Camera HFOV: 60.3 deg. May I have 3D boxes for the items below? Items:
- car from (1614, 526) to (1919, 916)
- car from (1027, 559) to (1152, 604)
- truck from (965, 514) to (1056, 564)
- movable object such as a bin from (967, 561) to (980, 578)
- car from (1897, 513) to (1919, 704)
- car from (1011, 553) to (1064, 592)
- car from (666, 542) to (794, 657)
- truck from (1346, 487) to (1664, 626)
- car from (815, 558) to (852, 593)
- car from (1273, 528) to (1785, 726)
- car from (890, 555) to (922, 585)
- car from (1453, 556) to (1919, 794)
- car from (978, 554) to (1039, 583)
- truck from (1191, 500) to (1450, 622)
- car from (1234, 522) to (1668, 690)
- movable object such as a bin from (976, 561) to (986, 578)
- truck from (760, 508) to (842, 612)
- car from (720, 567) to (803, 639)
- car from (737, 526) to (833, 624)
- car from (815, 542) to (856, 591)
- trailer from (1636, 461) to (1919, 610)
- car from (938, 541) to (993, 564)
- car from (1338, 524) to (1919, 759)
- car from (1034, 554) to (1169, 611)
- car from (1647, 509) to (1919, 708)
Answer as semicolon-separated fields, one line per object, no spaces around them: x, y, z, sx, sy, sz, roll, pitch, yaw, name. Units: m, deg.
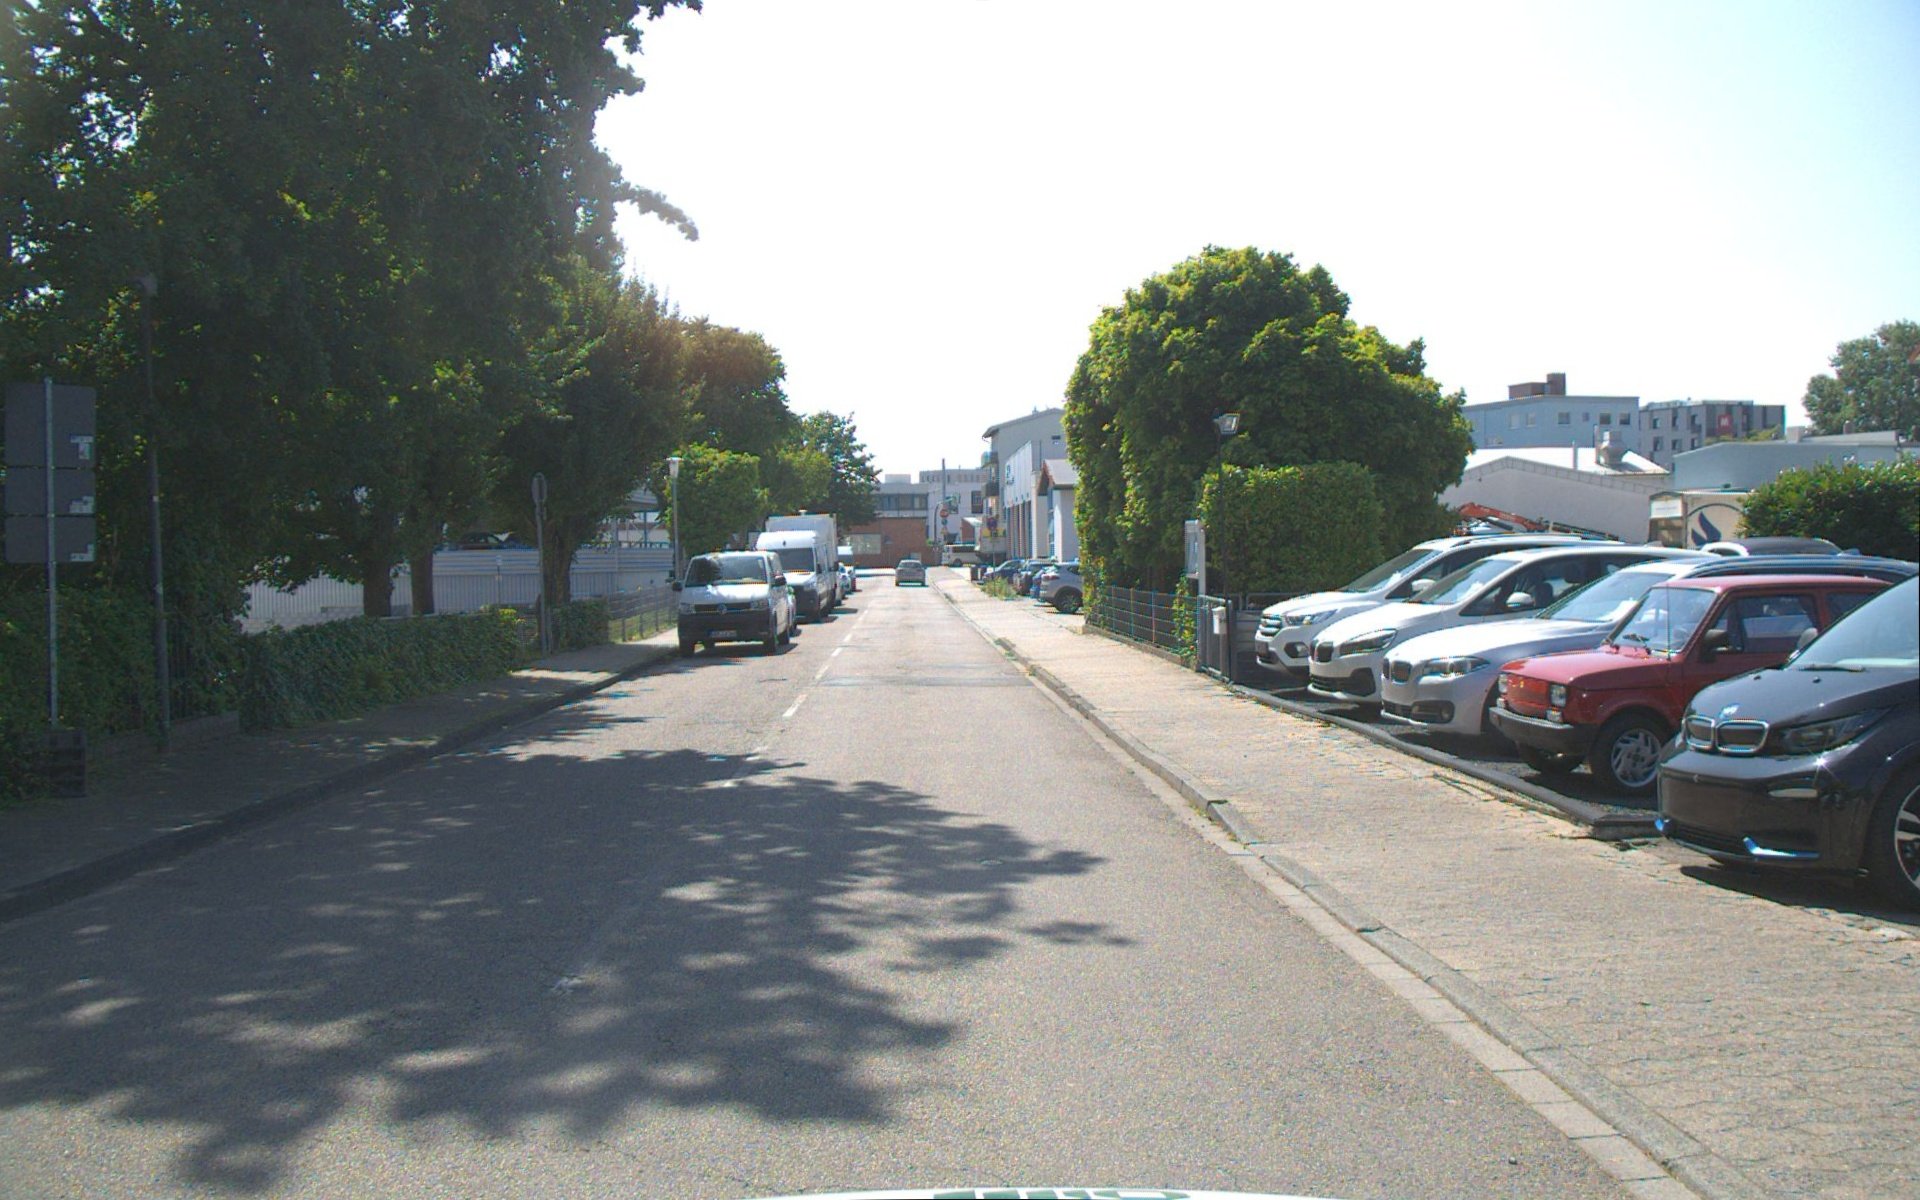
5.419;0.448;8.082;3.727;1.652;1.758;-2;1;-4;car
4.663;-0.684;59.952;4.266;1.466;1.891;-2;1;-3;car
4.303;-5.201;141.661;7.223;3.707;2.763;-5;2;-8;truck
0.781;-1.811;97.957;0.557;0.962;0.556;-1;2;31;movable object such as a bin
9.871;0.082;13.566;1.954;1.758;3.998;-2;1;-3;car
3.383;-1.253;72.892;1.821;1.595;4.950;-2;2;-3;car
-4.555;-0.062;33.493;1.932;2.048;5.055;-3;1;-2;car
15.432;-1.239;47.256;8.105;3.674;2.954;-1;1;0;truck
-6.381;-1.255;83.148;1.672;1.652;3.968;-3;2;-7;car
5.496;0.225;16.265;4.320;1.554;1.894;-4;1;-8;car
-3.227;-1.788;98.272;1.852;1.714;3.956;-2;1;-2;car
5.305;0.440;11.094;3.479;1.358;1.557;-2;1;-4;car
2.640;-1.726;90.431;3.187;1.423;1.673;-2;2;-2;car
11.101;-1.208;51.357;7.367;3.482;2.526;2;1;-2;truck
5.459;0.041;18.700;4.316;1.682;1.842;-2;1;-5;car
1.250;-1.811;98.388;0.502;0.962;0.488;-2;2;9;movable object such as a bin
-5.687;-1.421;59.451;2.633;3.424;7.123;-2;1;-5;truck
-4.816;0.040;40.663;1.680;1.570;4.398;-3;1;-3;car
-5.136;-0.754;49.458;2.124;2.641;6.919;-3;1;-1;car
-6.604;-1.818;88.307;1.966;2.406;5.226;-4;2;-4;car
23.924;-1.816;46.936;8.159;3.930;3.069;-1;1;3;trailer
0.488;-4.316;149.940;4.588;1.991;1.904;-2;2;-21;car
5.543;0.286;13.589;4.320;1.523;1.894;-4;1;-8;car
4.572;-0.570;53.820;4.117;1.711;1.766;2;1;-3;car
9.182;0.066;17.708;1.954;1.892;3.787;0;0;-3;car
